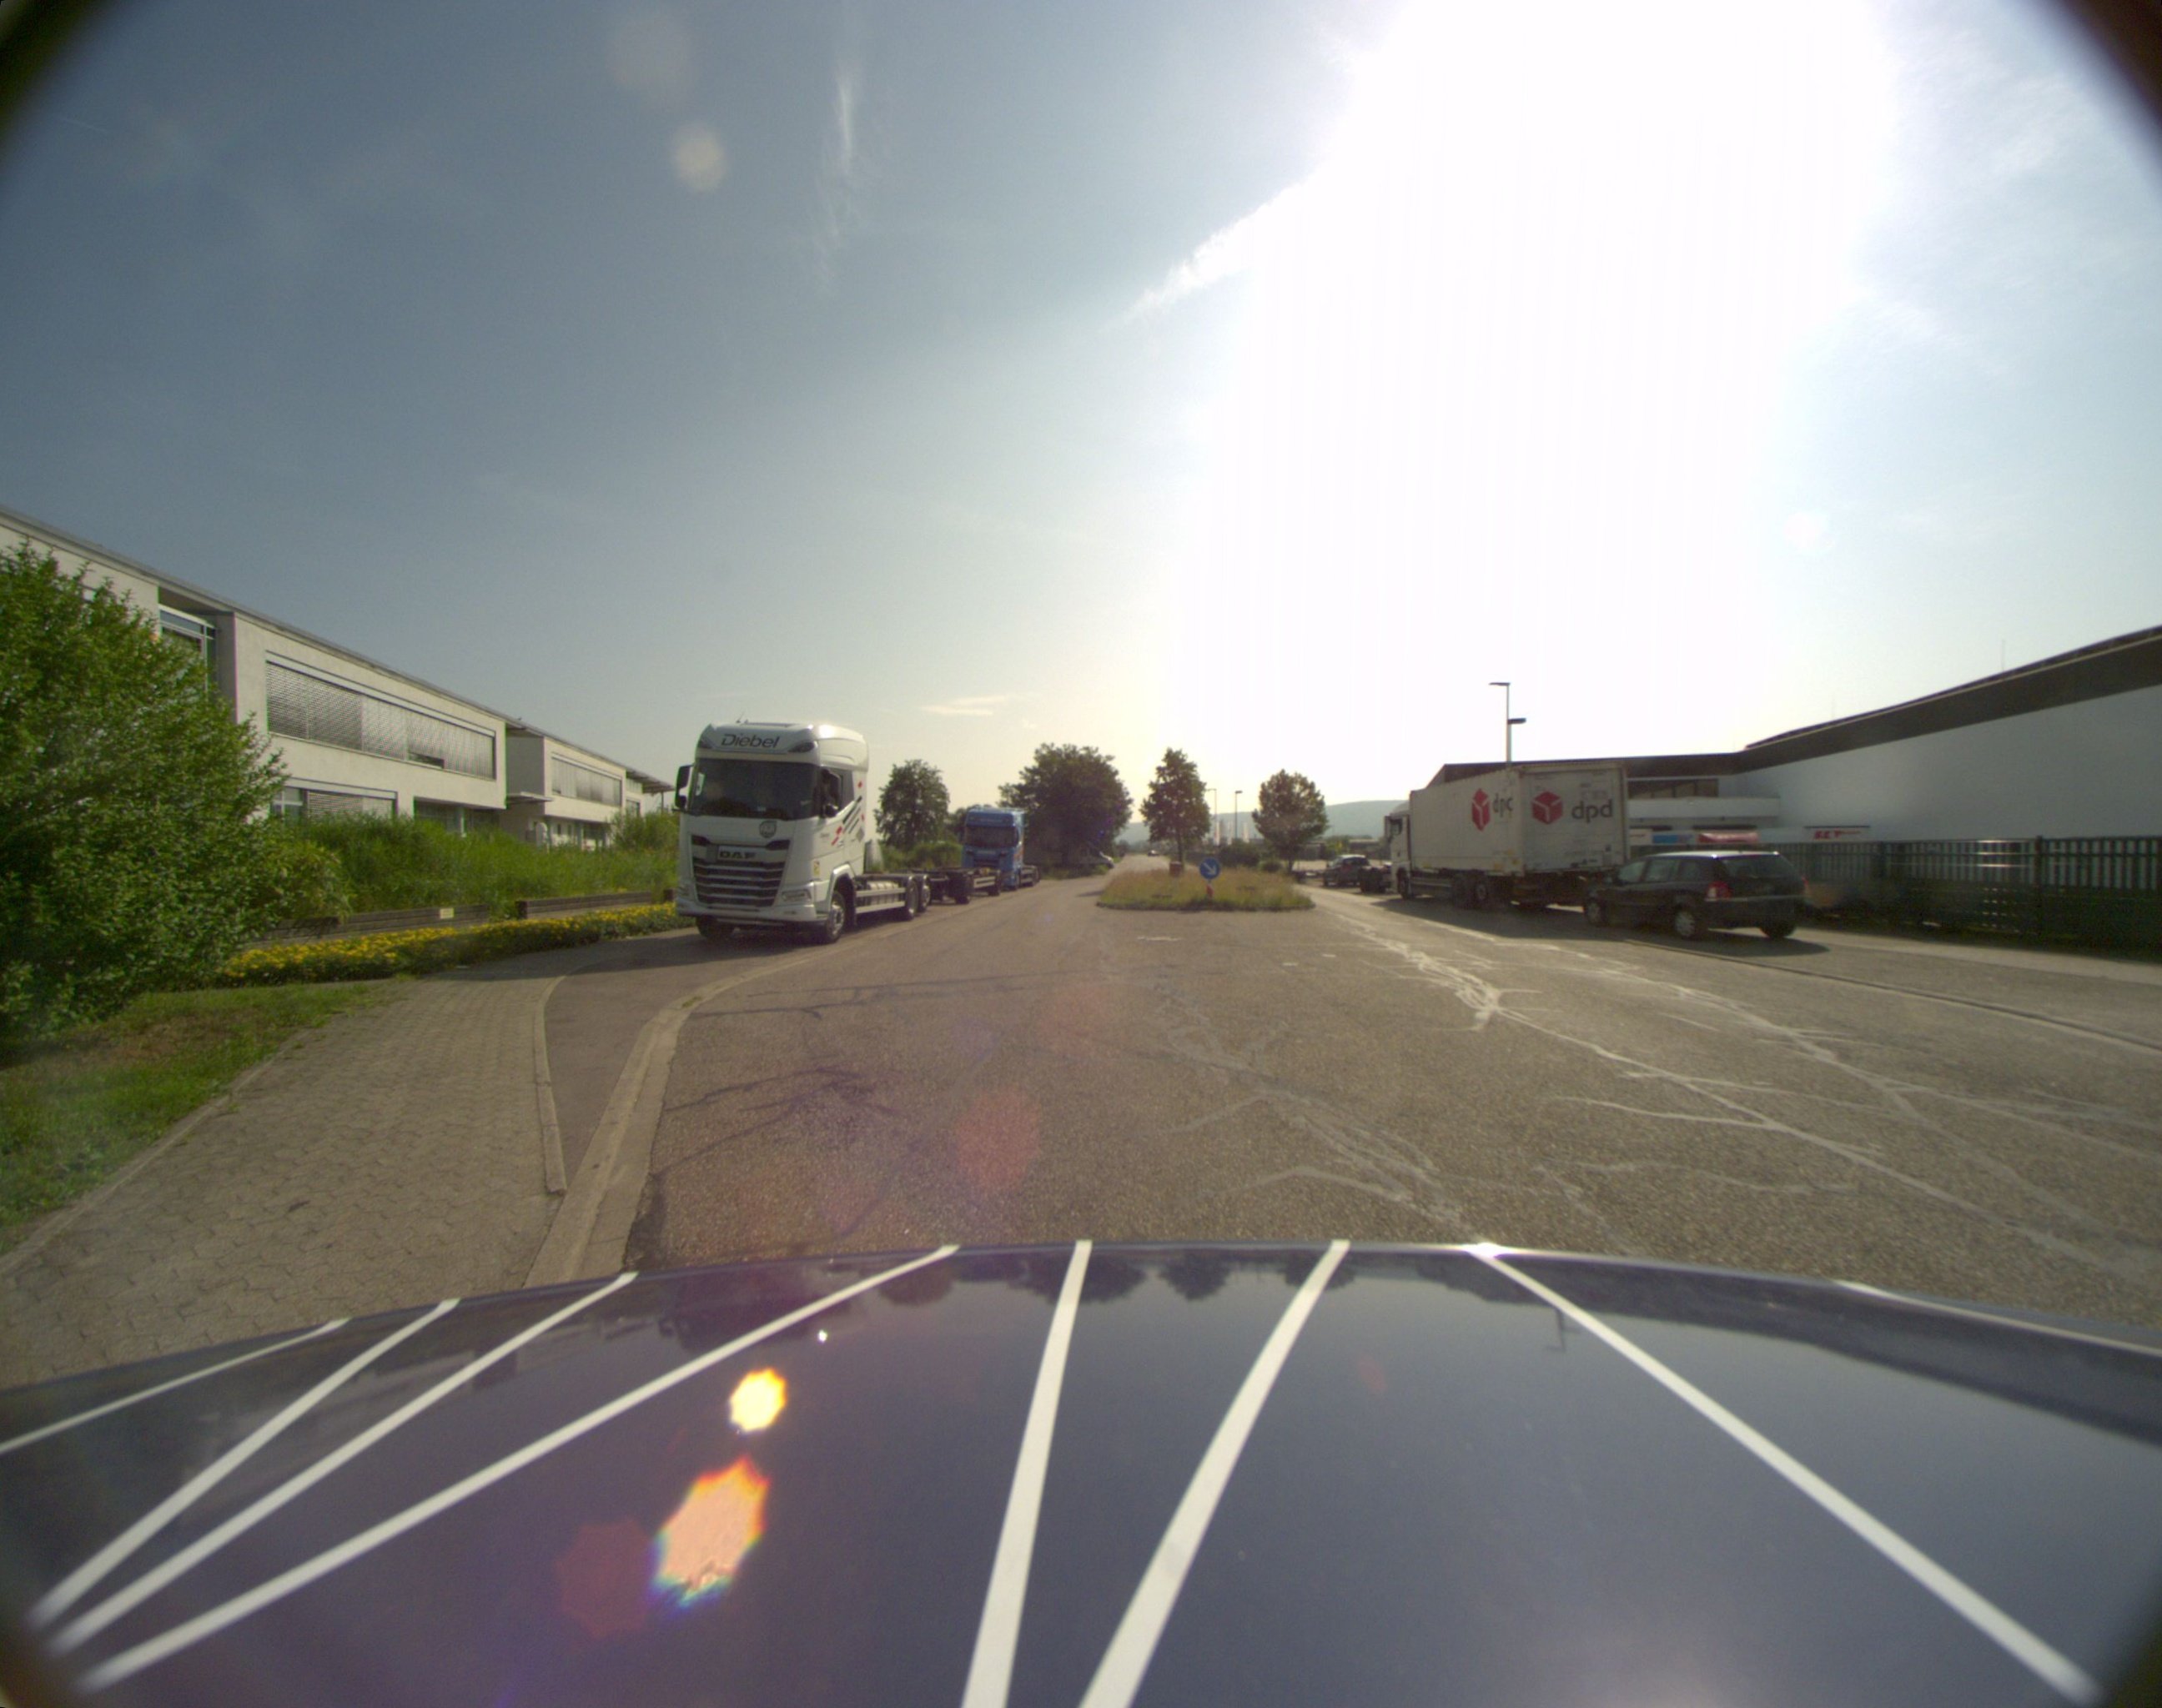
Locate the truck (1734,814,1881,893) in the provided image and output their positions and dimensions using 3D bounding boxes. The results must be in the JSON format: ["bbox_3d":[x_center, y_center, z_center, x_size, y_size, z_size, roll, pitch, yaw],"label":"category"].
[{"bbox_3d":[41.213,-0.039,43.581,2.902,4.032,9.253,0,1,23],"label":"truck"}]

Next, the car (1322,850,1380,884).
[{"bbox_3d":[13.625,0.626,38.557,1.734,1.573,3.967,-2,0,4],"label":"car"}]

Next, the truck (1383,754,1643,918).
[{"bbox_3d":[12.465,-0.469,23.455,2.783,3.831,10.064,-3,0,4],"label":"truck"}]

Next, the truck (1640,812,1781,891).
[{"bbox_3d":[36.485,-0.173,44.729,2.784,4.021,12.373,1,1,23],"label":"truck"}]

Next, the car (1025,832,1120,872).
[{"bbox_3d":[-0.724,-0.183,67.380,8.148,3.217,2.663,-2,1,-1],"label":"car"}]

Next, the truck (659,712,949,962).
[{"bbox_3d":[-5.232,-0.328,16.532,2.558,3.959,8.583,2,1,4],"label":"truck"}]

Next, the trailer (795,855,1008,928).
[{"bbox_3d":[-4.789,0.858,24.403,2.552,1.383,14.138,2,1,4],"label":"trailer"}]

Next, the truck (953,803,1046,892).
[{"bbox_3d":[-3.806,-0.305,38.623,3.043,3.916,10.580,0,0,3],"label":"truck"}]

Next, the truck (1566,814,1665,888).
[{"bbox_3d":[32.712,-0.191,46.951,3.034,4.112,9.253,1,1,23],"label":"truck"}]

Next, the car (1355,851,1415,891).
[{"bbox_3d":[12.871,0.690,32.299,1.441,1.598,3.168,-2,0,4],"label":"car"}]

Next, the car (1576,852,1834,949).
[{"bbox_3d":[11.933,0.789,14.970,1.767,1.583,4.194,-2,0,3],"label":"car"}]
